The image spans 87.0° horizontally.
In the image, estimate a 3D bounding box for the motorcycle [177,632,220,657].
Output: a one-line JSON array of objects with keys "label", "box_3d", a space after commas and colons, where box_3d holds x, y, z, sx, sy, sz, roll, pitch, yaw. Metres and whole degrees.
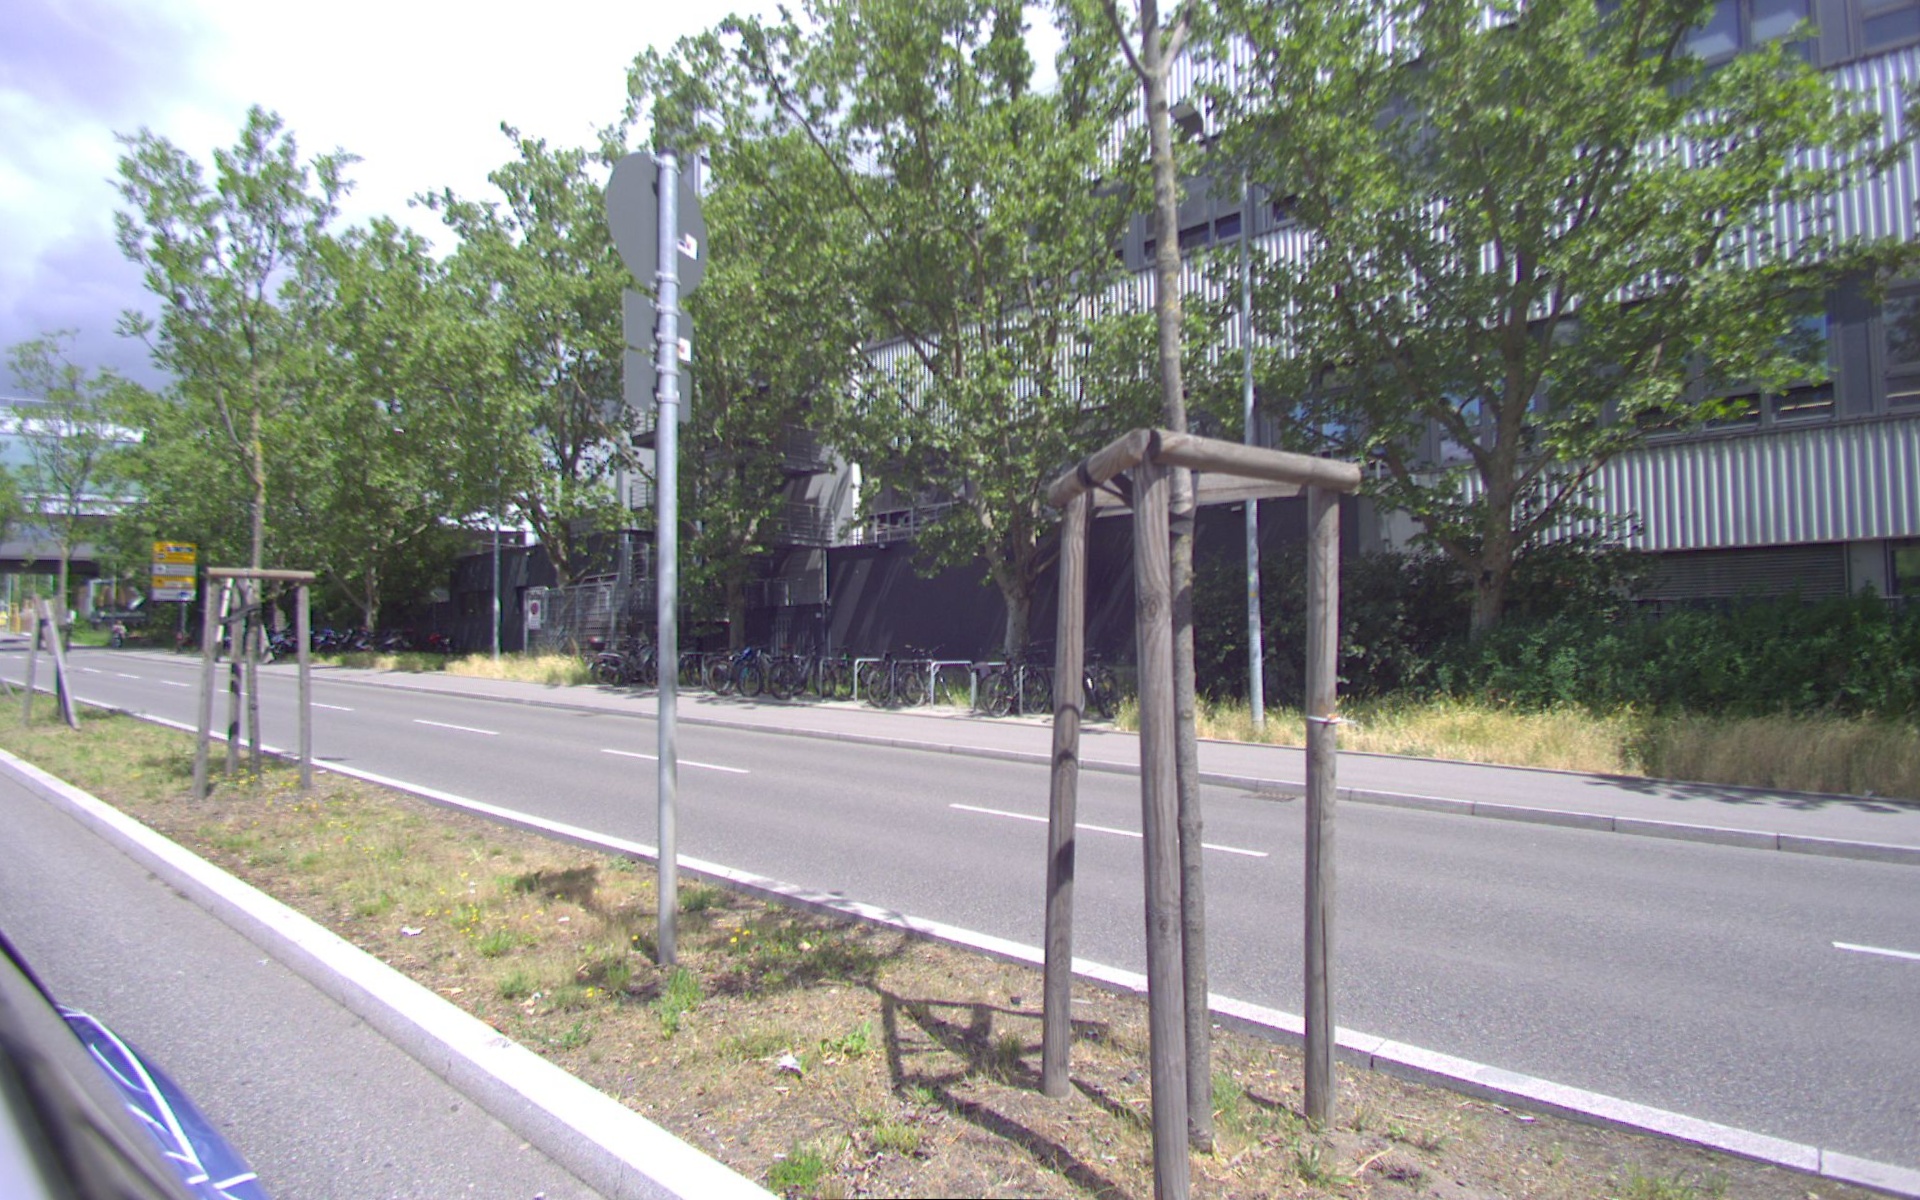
[{"label": "motorcycle", "box_3d": [-39.539, 2.298, 52.565, 1.721, 1.180, 0.777, -2, -1, -42]}]

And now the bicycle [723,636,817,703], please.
[{"label": "bicycle", "box_3d": [-3.984, 1.434, 21.304, 0.805, 1.292, 1.900, -1, -1, 38]}]

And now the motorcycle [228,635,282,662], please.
[{"label": "motorcycle", "box_3d": [-32.782, 2.253, 47.100, 1.904, 1.124, 0.924, -2, -1, -23]}]

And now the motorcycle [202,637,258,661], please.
[{"label": "motorcycle", "box_3d": [-34.464, 2.322, 47.793, 0.917, 1.124, 1.919, 0, -3, 28]}]

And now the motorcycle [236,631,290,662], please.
[{"label": "motorcycle", "box_3d": [-31.741, 2.109, 46.113, 1.905, 1.300, 0.895, -2, -1, -30]}]

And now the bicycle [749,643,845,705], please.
[{"label": "bicycle", "box_3d": [-3.294, 1.477, 20.582, 0.805, 1.131, 1.900, -2, -1, 38]}]

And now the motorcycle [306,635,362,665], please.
[{"label": "motorcycle", "box_3d": [-25.104, 1.983, 40.577, 1.853, 1.093, 0.796, -2, -1, -35]}]

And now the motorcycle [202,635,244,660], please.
[{"label": "motorcycle", "box_3d": [-36.786, 2.360, 50.524, 0.776, 1.131, 1.574, -3, -1, 41]}]

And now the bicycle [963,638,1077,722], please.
[{"label": "bicycle", "box_3d": [1.047, 1.299, 17.009, 0.555, 1.267, 2.379, -2, -2, 41]}]

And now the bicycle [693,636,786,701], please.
[{"label": "bicycle", "box_3d": [-4.754, 1.453, 21.944, 0.805, 1.292, 1.900, -2, -2, 38]}]

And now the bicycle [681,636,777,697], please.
[{"label": "bicycle", "box_3d": [-5.250, 1.485, 23.100, 0.805, 1.292, 2.113, -2, -1, 38]}]

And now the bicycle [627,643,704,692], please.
[{"label": "bicycle", "box_3d": [-7.111, 1.617, 24.480, 0.421, 1.083, 1.905, -2, -2, 38]}]

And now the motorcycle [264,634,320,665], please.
[{"label": "motorcycle", "box_3d": [-28.062, 2.077, 42.517, 1.855, 1.188, 0.816, -2, -1, -41]}]

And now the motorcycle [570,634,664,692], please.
[{"label": "motorcycle", "box_3d": [-8.449, 1.531, 24.997, 0.805, 1.319, 2.113, -2, -1, 38]}]

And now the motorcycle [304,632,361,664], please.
[{"label": "motorcycle", "box_3d": [-25.742, 1.961, 41.509, 0.655, 1.219, 1.857, -4, -1, 43]}]

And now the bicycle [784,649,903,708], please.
[{"label": "bicycle", "box_3d": [-2.296, 1.544, 20.392, 0.848, 1.014, 2.814, -1, -1, 31]}]

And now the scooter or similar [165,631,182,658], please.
[{"label": "scooter or similar", "box_3d": [-37.898, 2.145, 48.770, 1.478, 1.245, 0.350, 0, 0, 40]}]

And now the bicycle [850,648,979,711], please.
[{"label": "bicycle", "box_3d": [-0.824, 1.464, 19.103, 2.533, 1.104, 0.697, 2, -3, -40]}]

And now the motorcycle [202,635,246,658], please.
[{"label": "motorcycle", "box_3d": [-35.922, 2.280, 49.423, 0.776, 1.041, 1.574, -3, -1, 41]}]

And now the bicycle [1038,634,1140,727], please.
[{"label": "bicycle", "box_3d": [2.100, 1.251, 16.276, 0.489, 1.374, 2.144, -2, -2, 41]}]

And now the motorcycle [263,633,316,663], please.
[{"label": "motorcycle", "box_3d": [-28.851, 2.068, 43.569, 1.853, 1.188, 0.817, -2, -1, -35]}]

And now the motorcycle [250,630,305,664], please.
[{"label": "motorcycle", "box_3d": [-30.030, 2.061, 44.565, 1.905, 1.354, 0.867, -2, -1, -30]}]

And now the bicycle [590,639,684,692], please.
[{"label": "bicycle", "box_3d": [-7.872, 1.562, 24.734, 0.805, 1.189, 2.113, -2, -1, 38]}]

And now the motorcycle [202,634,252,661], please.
[{"label": "motorcycle", "box_3d": [-35.207, 2.255, 48.625, 0.849, 1.188, 1.735, -3, -1, 28]}]

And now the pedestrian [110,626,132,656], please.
[{"label": "pedestrian", "box_3d": [-47.111, 2.304, 56.826, 0.812, 1.624, 0.760, -1, 1, 39]}]

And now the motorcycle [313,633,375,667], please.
[{"label": "motorcycle", "box_3d": [-23.071, 1.869, 37.925, 1.855, 1.182, 0.746, -2, -1, -41]}]

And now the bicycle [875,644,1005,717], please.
[{"label": "bicycle", "box_3d": [-0.329, 1.426, 18.445, 2.533, 1.166, 0.645, 0, -1, -40]}]

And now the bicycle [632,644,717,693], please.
[{"label": "bicycle", "box_3d": [-6.788, 1.608, 24.135, 0.496, 1.070, 2.061, -2, -1, 38]}]

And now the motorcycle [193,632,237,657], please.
[{"label": "motorcycle", "box_3d": [-37.806, 2.256, 51.358, 0.773, 1.131, 1.579, -3, -1, 30]}]

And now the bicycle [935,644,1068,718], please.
[{"label": "bicycle", "box_3d": [0.774, 1.404, 18.060, 2.533, 1.166, 0.727, 0, -1, -40]}]

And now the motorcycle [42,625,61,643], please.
[{"label": "motorcycle", "box_3d": [-61.542, 2.289, 68.545, 2.255, 1.207, 0.633, 0, 1, 39]}]

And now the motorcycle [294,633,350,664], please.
[{"label": "motorcycle", "box_3d": [-26.610, 2.020, 42.225, 0.698, 1.188, 1.857, -4, -1, 43]}]

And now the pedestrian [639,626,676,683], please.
[{"label": "pedestrian", "box_3d": [-8.591, 1.536, 28.698, 0.744, 1.563, 0.822, 0, -2, -40]}]

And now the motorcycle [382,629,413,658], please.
[{"label": "motorcycle", "box_3d": [-24.982, 1.928, 44.934, 1.983, 1.219, 0.645, -4, -1, 45]}]
